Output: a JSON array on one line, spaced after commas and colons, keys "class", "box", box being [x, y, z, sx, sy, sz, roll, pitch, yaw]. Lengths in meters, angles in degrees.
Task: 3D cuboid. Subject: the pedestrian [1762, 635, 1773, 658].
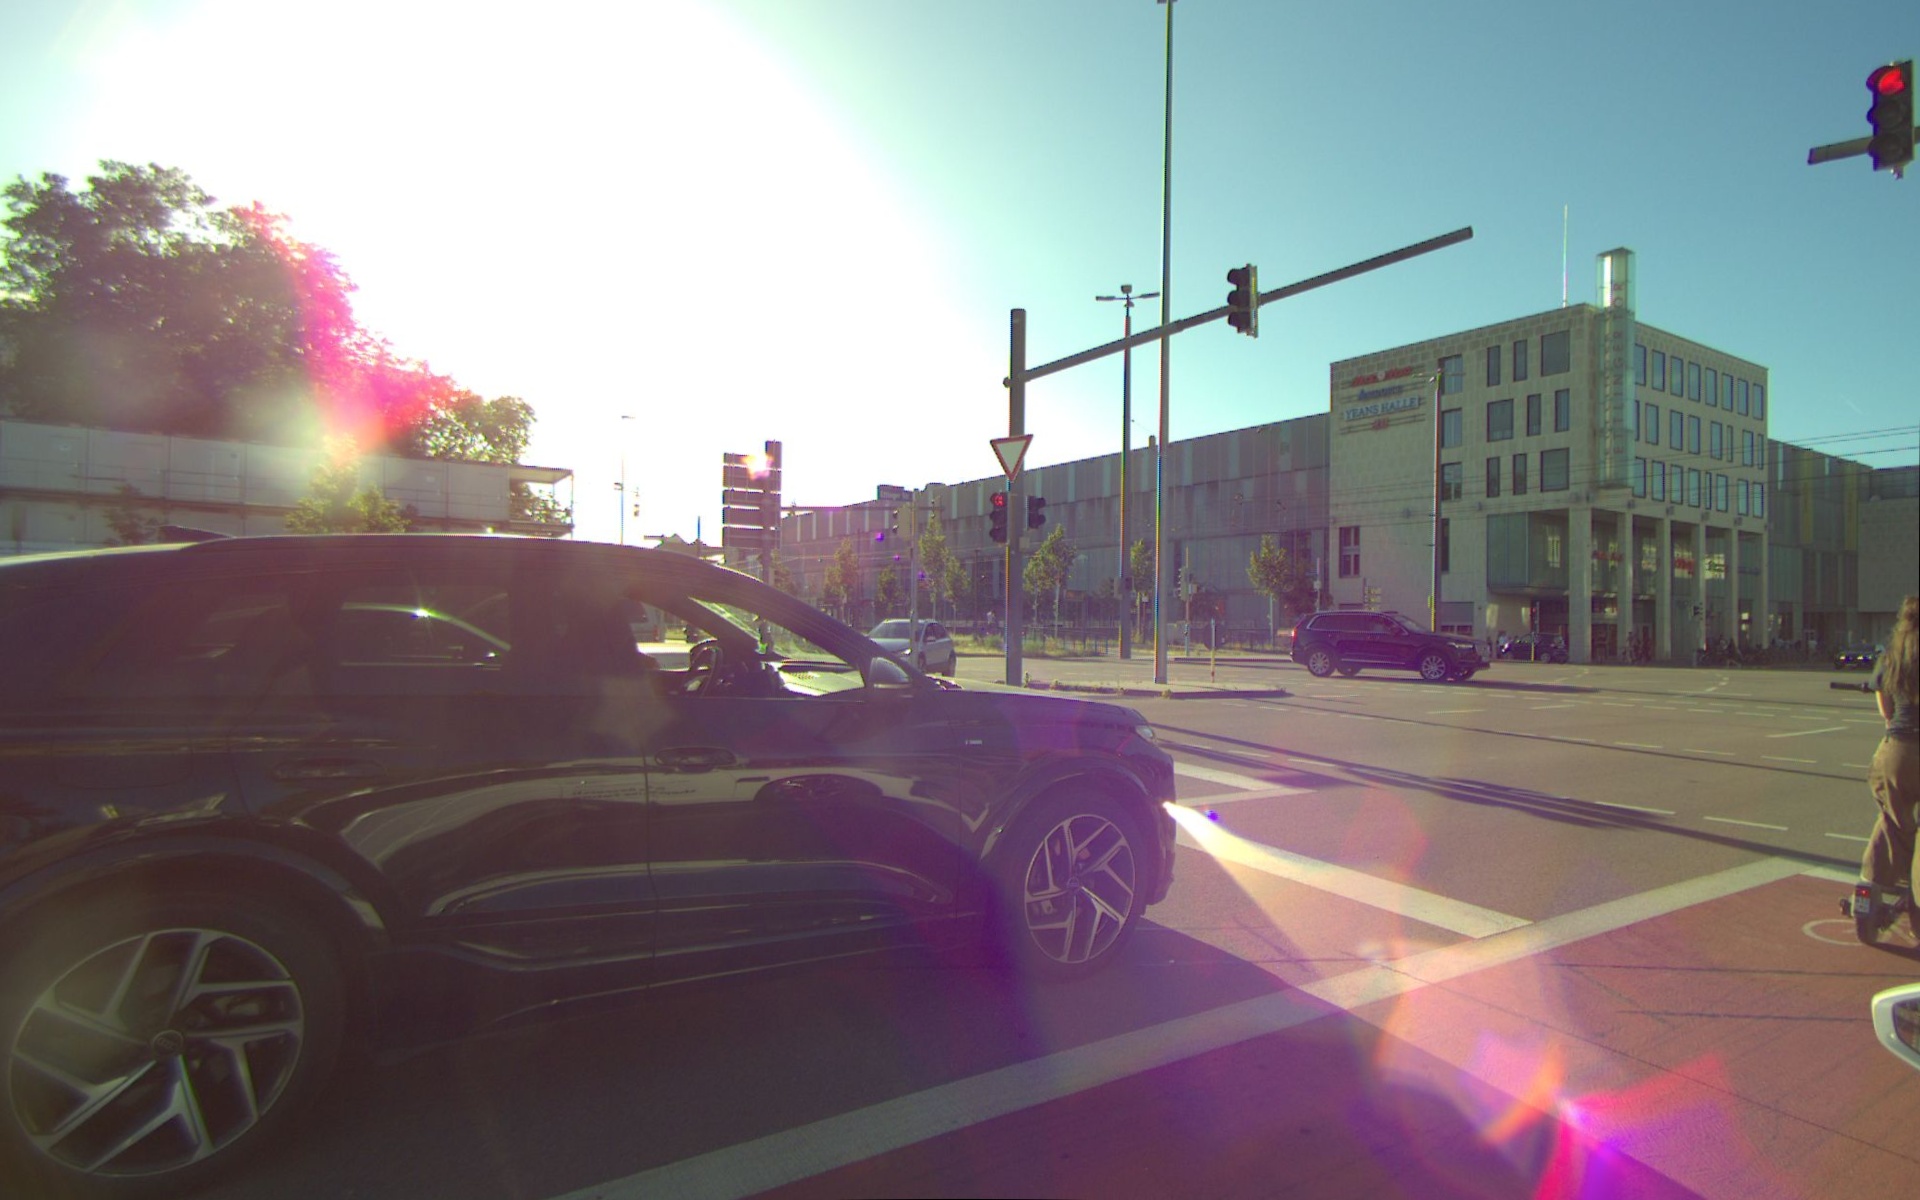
[{"class": "pedestrian", "box": [62.899, 3.597, 78.245, 0.510, 1.752, 0.472, 2, 0, 9]}]

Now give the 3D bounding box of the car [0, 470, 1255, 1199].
[{"class": "car", "box": [-1.239, 0.607, 4.074, 4.612, 1.729, 2.154, 1, 0, -32]}]

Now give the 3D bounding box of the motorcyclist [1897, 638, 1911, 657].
[{"class": "motorcyclist", "box": [70.853, 3.580, 75.374, 0.657, 1.424, 0.623, 2, 0, -38]}]

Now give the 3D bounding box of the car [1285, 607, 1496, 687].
[{"class": "car", "box": [11.137, 1.157, 26.251, 1.873, 1.888, 4.771, 2, -2, -43]}]

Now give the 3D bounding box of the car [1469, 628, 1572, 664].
[{"class": "car", "box": [28.977, 2.344, 52.059, 1.805, 1.706, 4.379, 1, -2, -32]}]

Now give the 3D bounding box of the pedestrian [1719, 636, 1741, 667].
[{"class": "pedestrian", "box": [42.150, 2.808, 55.015, 0.618, 1.660, 0.774, 1, -1, -27]}]

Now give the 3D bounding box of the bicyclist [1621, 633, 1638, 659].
[{"class": "bicyclist", "box": [37.352, 2.560, 56.061, 0.577, 1.467, 0.628, 0, -1, 6]}]

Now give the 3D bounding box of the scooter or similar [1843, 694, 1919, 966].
[{"class": "scooter or similar", "box": [4.382, 1.026, 4.678, 0.832, 1.122, 0.303, 2, -1, -42]}]

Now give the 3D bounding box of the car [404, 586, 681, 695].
[{"class": "car", "box": [-8.339, 0.796, 20.294, 4.883, 1.947, 1.869, 1, -2, -36]}]

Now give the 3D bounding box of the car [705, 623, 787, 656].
[{"class": "car", "box": [-11.009, 1.997, 51.343, 1.984, 1.585, 5.041, 2, -2, -40]}]

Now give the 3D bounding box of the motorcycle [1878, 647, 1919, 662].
[{"class": "motorcycle", "box": [70.649, 4.101, 75.277, 1.106, 1.006, 2.582, 2, 0, -38]}]

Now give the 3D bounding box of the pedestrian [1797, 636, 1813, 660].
[{"class": "pedestrian", "box": [62.681, 3.572, 74.506, 0.681, 1.752, 0.472, 2, 0, 9]}]

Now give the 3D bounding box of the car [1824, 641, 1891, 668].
[{"class": "car", "box": [49.651, 2.984, 55.554, 3.975, 1.375, 1.668, 1, -1, -31]}]

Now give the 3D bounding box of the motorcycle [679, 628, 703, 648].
[{"class": "motorcycle", "box": [-15.664, 2.221, 58.467, 0.643, 1.115, 1.940, 1, -1, -37]}]

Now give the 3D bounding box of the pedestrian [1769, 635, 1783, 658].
[{"class": "pedestrian", "box": [61.221, 3.490, 75.364, 0.615, 1.752, 0.472, 2, 0, 4]}]

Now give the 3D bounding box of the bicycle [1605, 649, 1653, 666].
[{"class": "bicycle", "box": [37.320, 3.198, 56.058, 2.173, 0.915, 0.638, 0, -1, 7]}]

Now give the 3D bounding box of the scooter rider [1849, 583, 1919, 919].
[{"class": "scooter rider", "box": [4.627, 0.702, 4.759, 0.445, 1.550, 0.548, 1, -1, -38]}]

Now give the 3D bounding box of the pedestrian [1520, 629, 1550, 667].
[{"class": "pedestrian", "box": [26.167, 2.191, 45.700, 0.994, 1.697, 0.818, 1, -1, -33]}]

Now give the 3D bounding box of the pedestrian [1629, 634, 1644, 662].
[{"class": "pedestrian", "box": [41.307, 2.938, 61.336, 0.622, 1.667, 0.589, 1, -1, -30]}]

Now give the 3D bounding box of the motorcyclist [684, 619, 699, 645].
[{"class": "motorcyclist", "box": [-15.581, 1.874, 58.385, 0.594, 1.499, 0.744, 1, -1, -37]}]

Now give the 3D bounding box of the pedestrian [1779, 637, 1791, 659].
[{"class": "pedestrian", "box": [63.567, 3.698, 77.402, 0.510, 1.705, 0.472, 2, 0, 9]}]

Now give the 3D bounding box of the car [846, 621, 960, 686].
[{"class": "car", "box": [-1.272, 1.231, 24.133, 1.694, 1.395, 3.945, 0, -1, 13]}]

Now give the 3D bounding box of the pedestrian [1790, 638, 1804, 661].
[{"class": "pedestrian", "box": [63.871, 3.774, 76.664, 0.616, 1.752, 0.471, 2, 0, -1]}]
